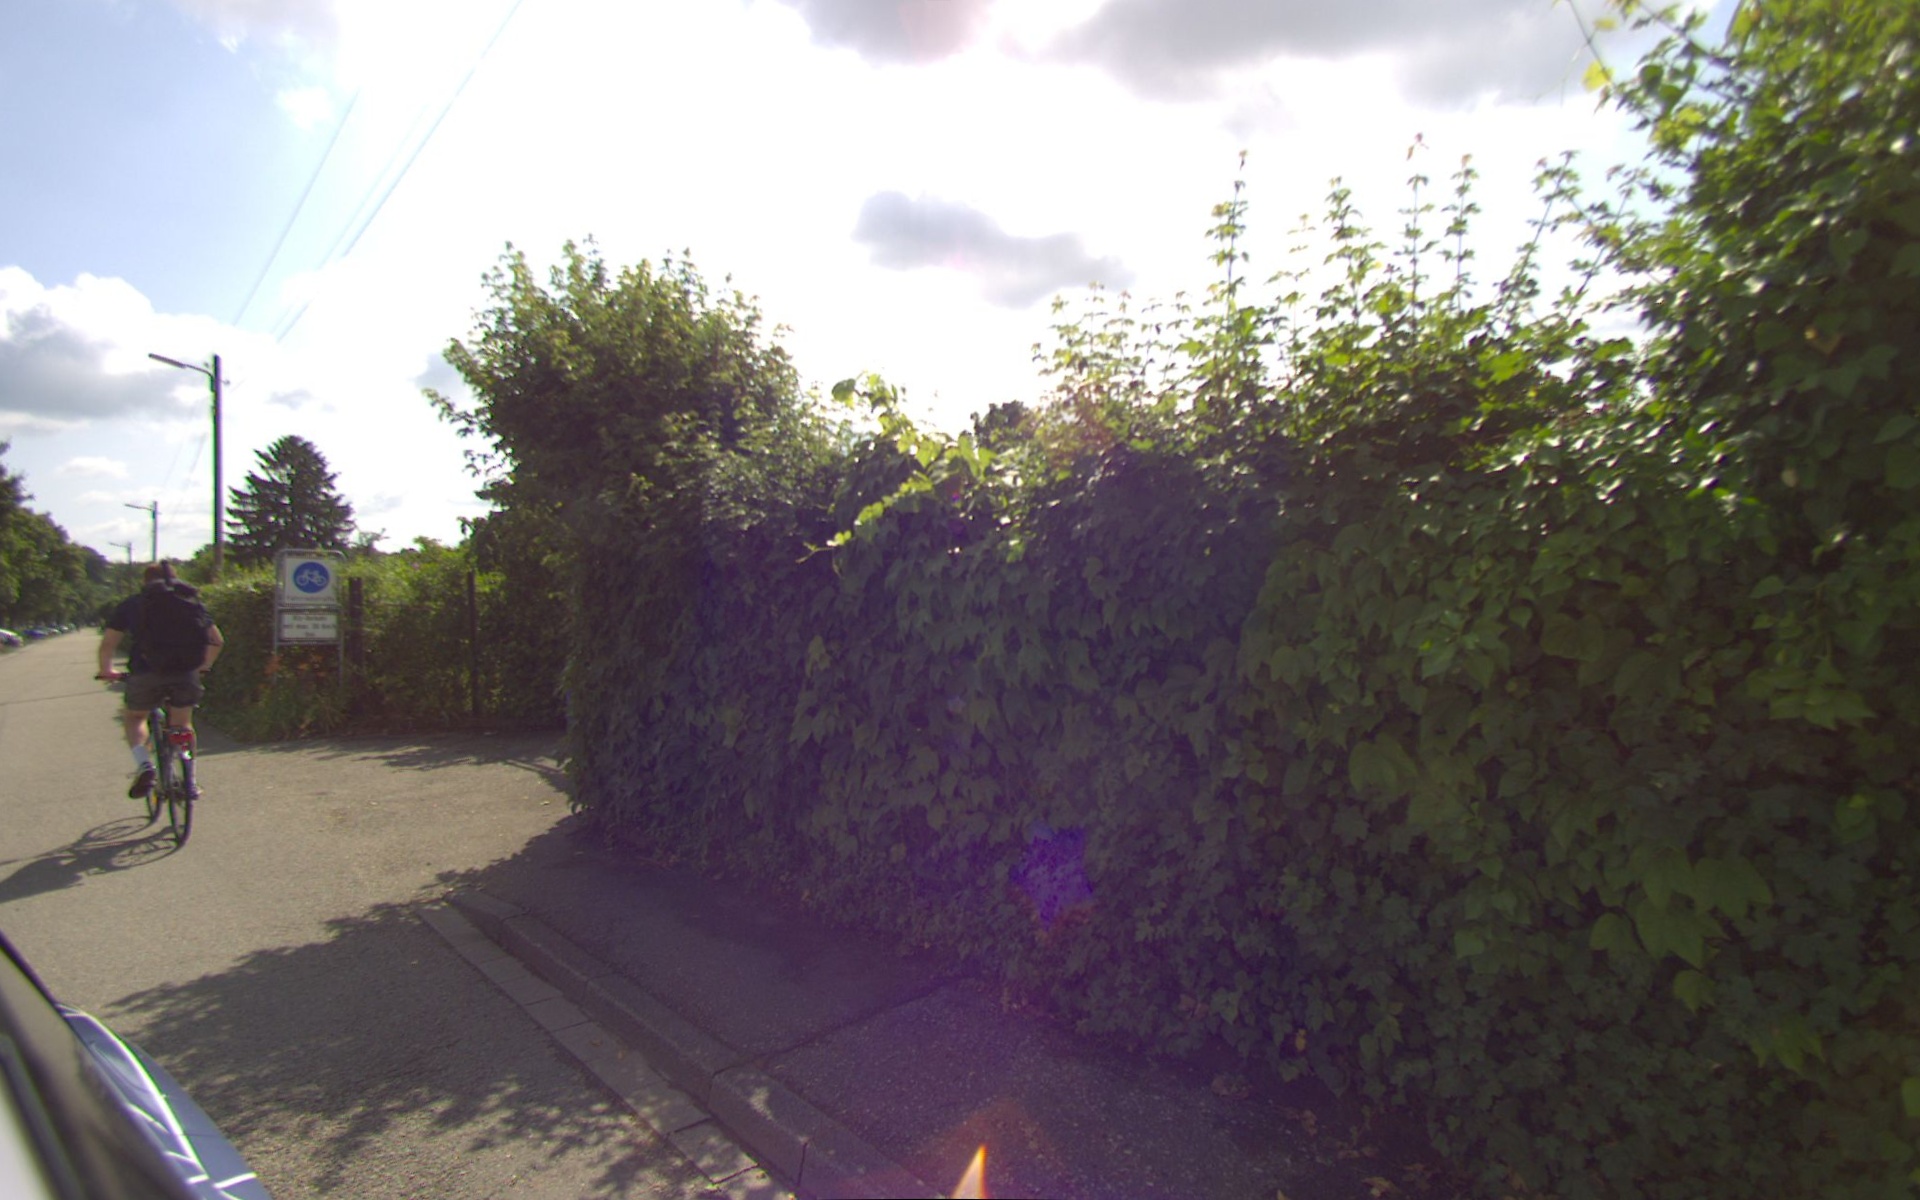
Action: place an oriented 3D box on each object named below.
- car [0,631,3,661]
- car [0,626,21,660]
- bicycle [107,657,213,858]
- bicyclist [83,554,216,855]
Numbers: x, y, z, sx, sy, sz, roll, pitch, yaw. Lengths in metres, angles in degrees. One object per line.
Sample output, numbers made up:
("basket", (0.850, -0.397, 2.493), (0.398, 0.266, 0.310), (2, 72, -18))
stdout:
("car", (-50.984, 2.503, 50.782), (4.131, 1.515, 1.881), (-4, 2, -40))
("car", (-55.808, 2.488, 56.744), (4.579, 1.901, 2.114), (-1, -1, -43))
("bicycle", (-5.562, 1.009, 7.052), (0.511, 1.159, 1.830), (-1, -1, -38))
("bicyclist", (-5.513, 0.656, 6.905), (0.650, 1.866, 1.045), (-1, -1, -38))
